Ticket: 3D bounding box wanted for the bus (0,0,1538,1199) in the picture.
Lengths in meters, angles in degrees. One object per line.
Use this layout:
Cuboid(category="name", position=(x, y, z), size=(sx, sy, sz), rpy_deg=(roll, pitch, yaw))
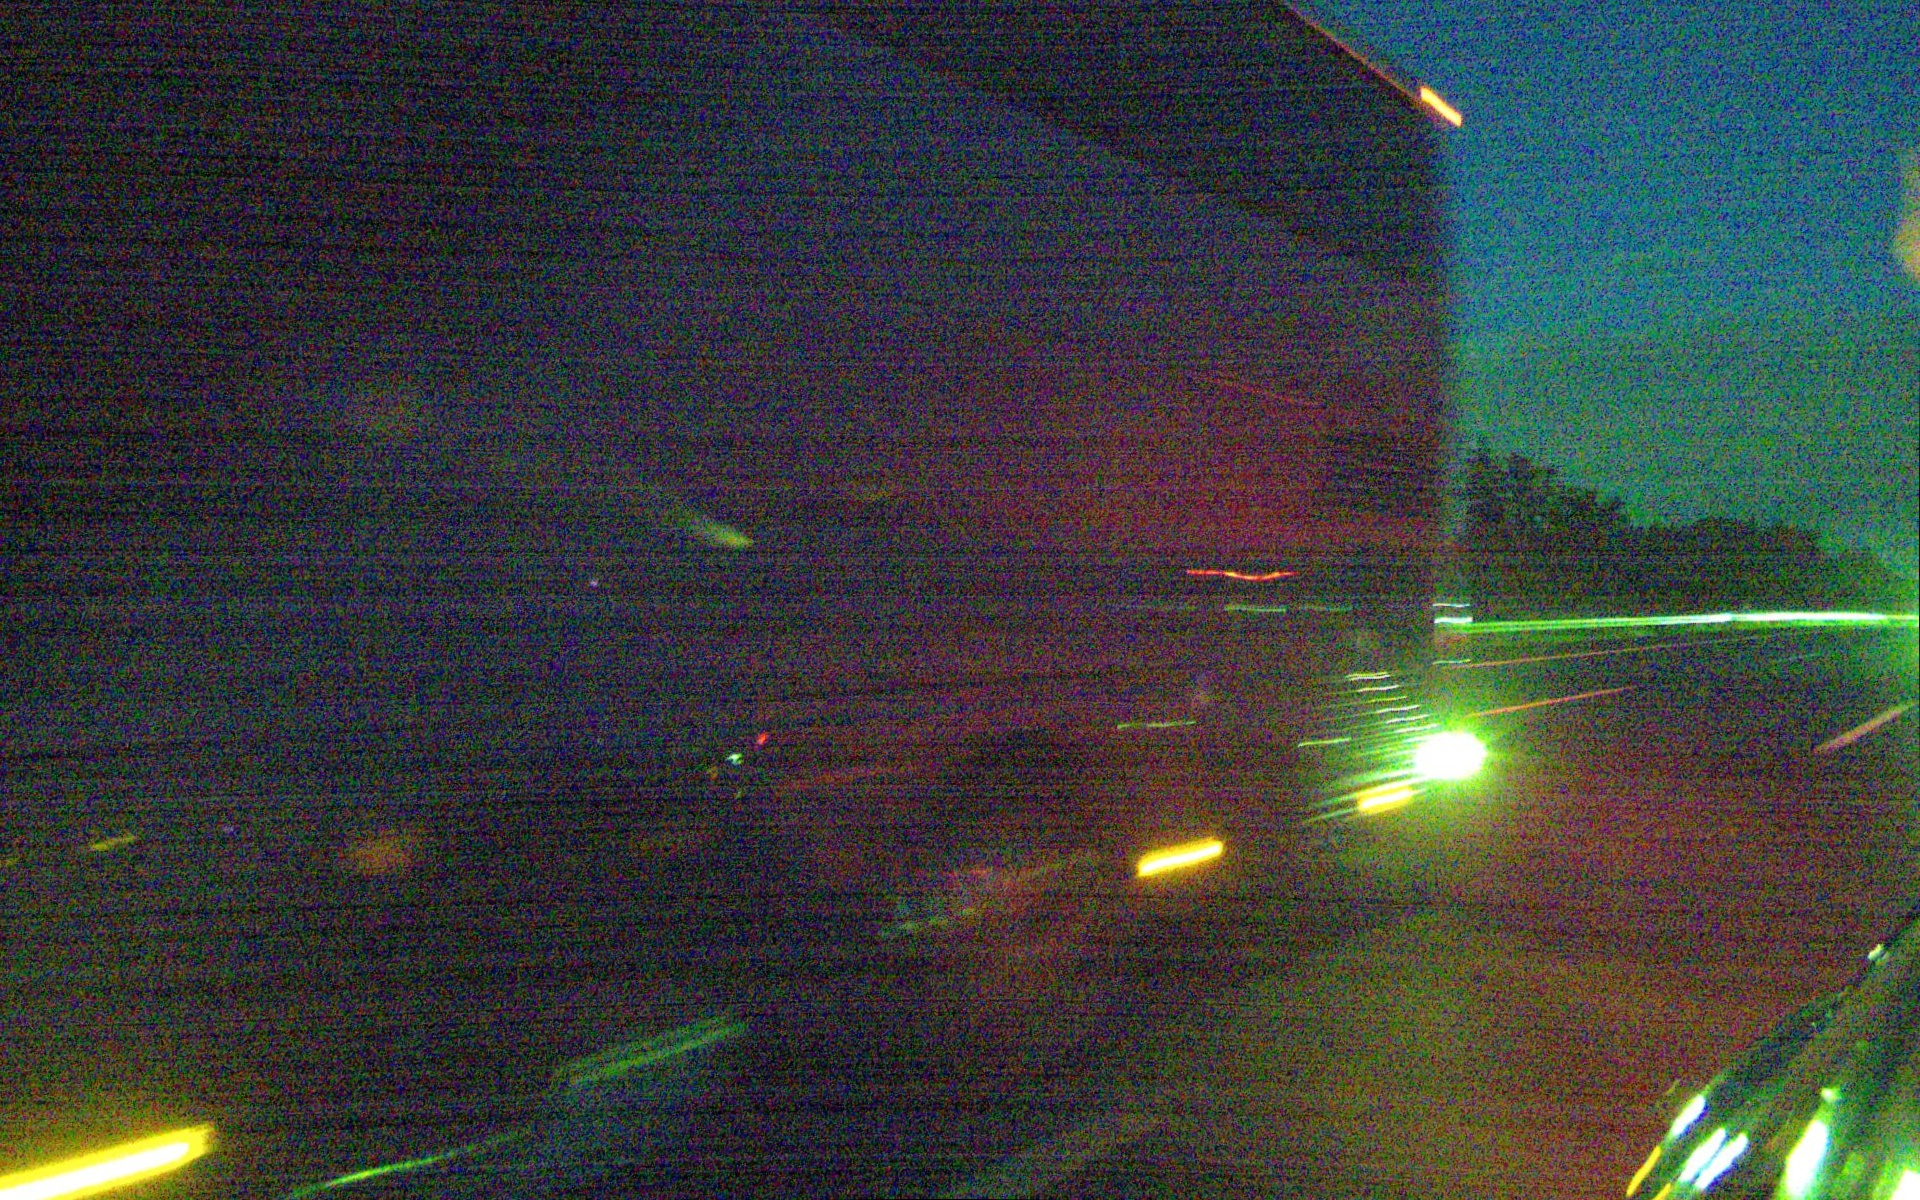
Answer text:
Cuboid(category="bus", position=(-3.478, -0.658, 1.198), size=(14.447, 4.045, 2.656), rpy_deg=(-1, 0, -41))
